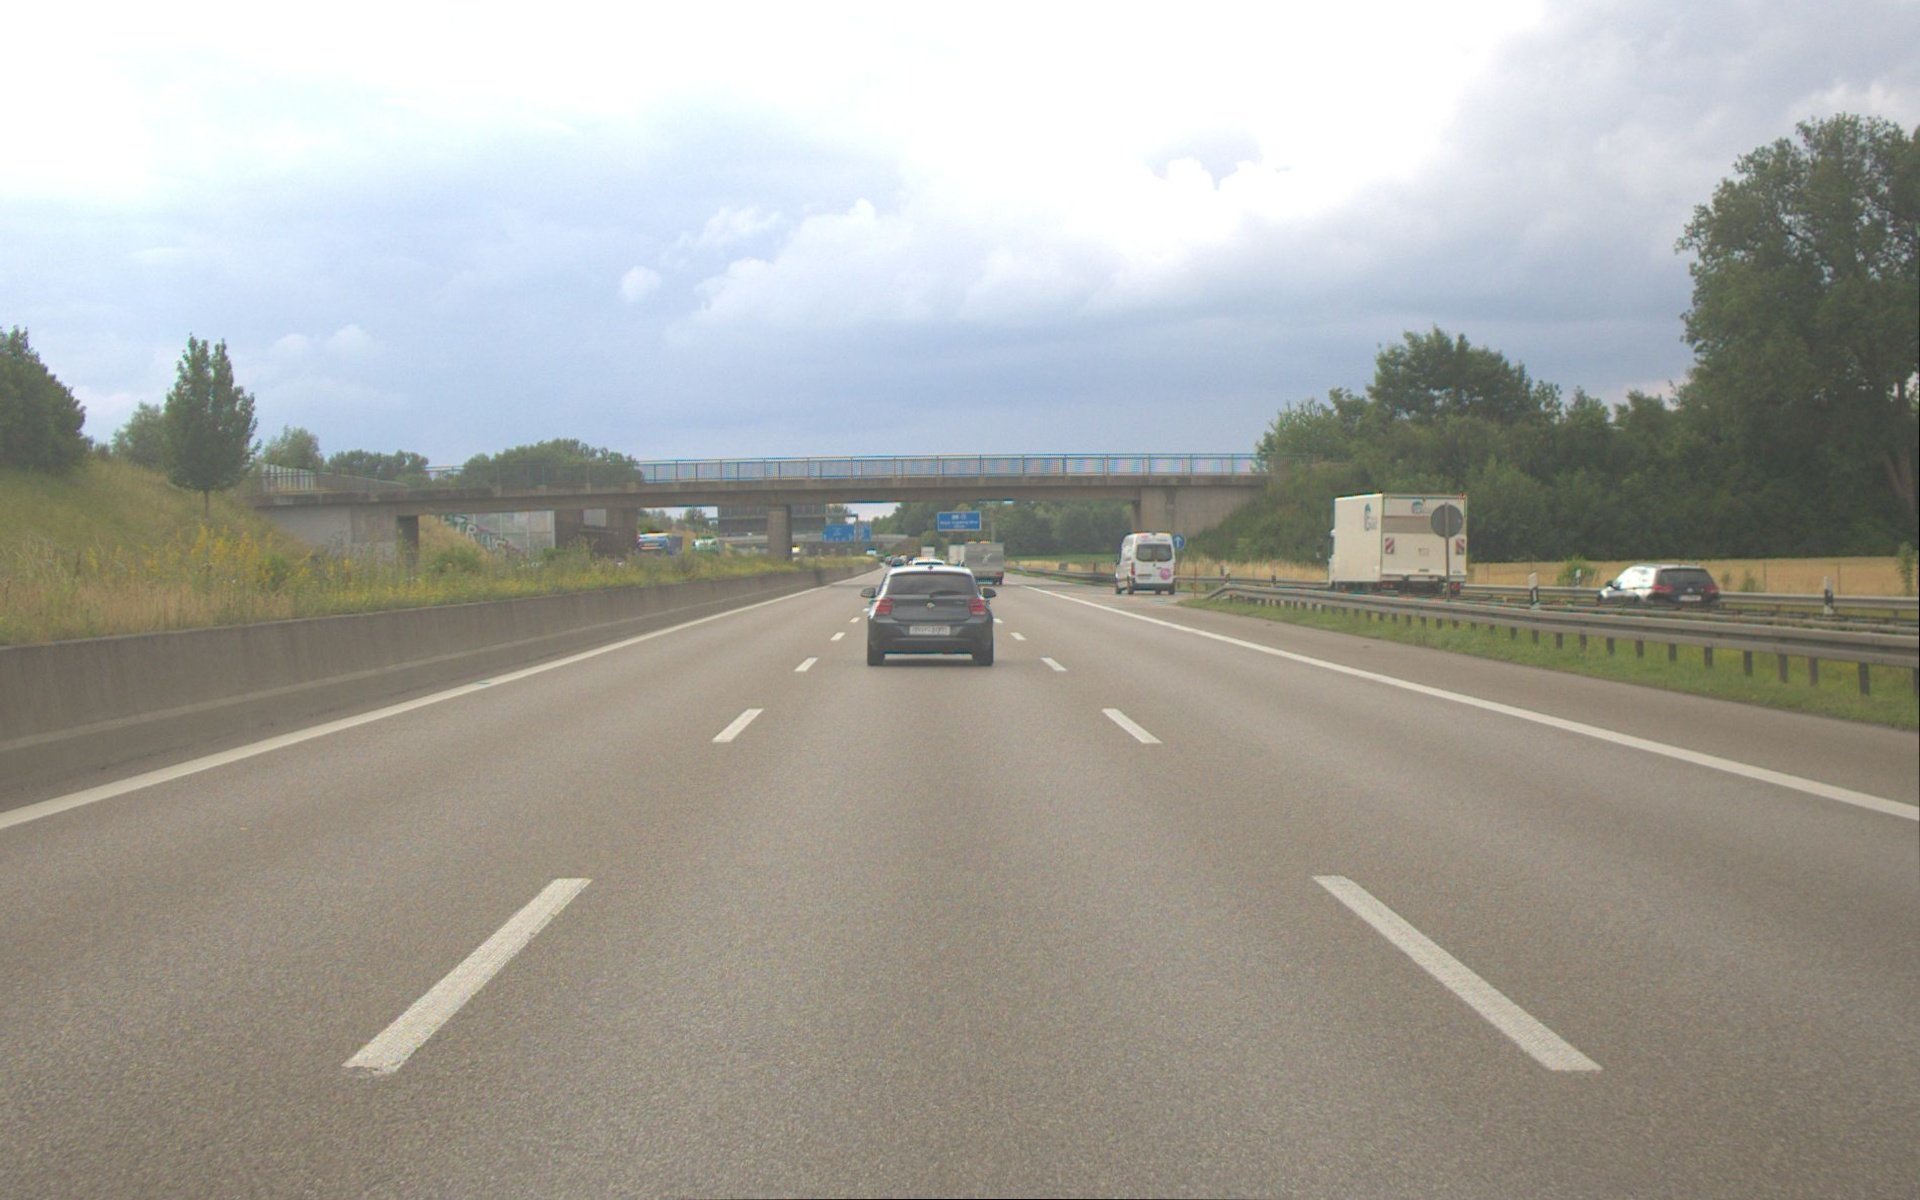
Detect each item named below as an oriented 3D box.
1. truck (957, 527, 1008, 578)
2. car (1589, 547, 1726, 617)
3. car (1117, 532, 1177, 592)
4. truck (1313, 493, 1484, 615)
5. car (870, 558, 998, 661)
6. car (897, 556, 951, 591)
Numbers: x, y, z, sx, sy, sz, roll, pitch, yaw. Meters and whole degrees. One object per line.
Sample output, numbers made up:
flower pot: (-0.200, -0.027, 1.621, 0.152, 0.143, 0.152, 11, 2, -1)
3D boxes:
truck: (1.319, -2.847, 208.698, 2.710, 2.954, 12.447, 1, 0, -1)
car: (16.255, -0.427, 80.356, 1.917, 1.545, 4.924, -1, 1, -3)
car: (8.133, -1.675, 149.754, 2.221, 2.559, 6.256, 0, 1, -1)
truck: (13.097, -1.361, 103.591, 3.104, 3.459, 8.893, 1, 0, -6)
car: (-0.379, 0.111, 49.152, 1.743, 1.384, 4.000, 0, 1, -1)
car: (-1.389, -1.033, 132.011, 1.993, 1.294, 4.000, -1, 1, -1)
